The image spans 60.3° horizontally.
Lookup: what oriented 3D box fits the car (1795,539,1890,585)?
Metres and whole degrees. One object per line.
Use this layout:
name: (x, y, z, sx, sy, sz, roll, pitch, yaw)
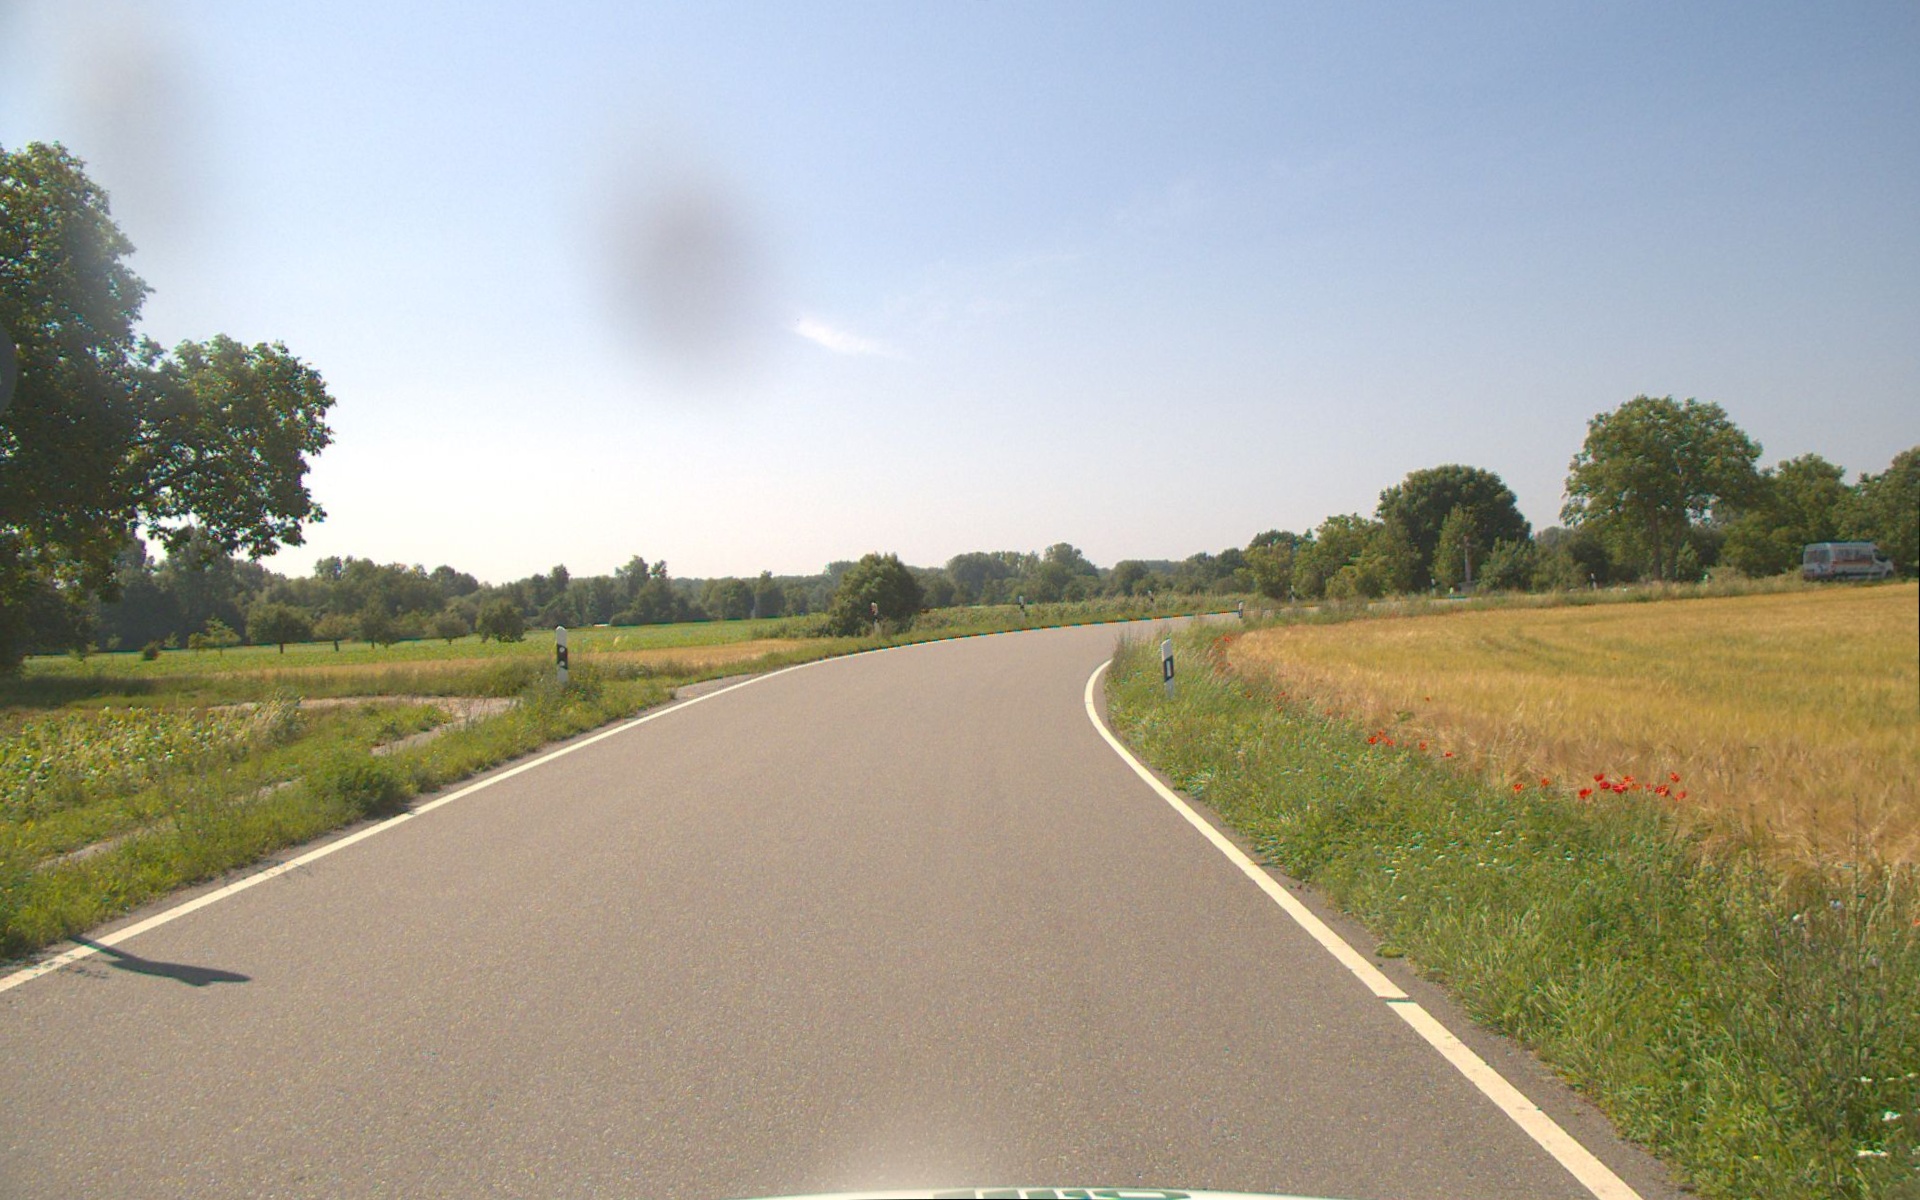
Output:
car: (52.447, -2.278, 98.243, 5.602, 2.408, 2.092, -3, 0, -27)
